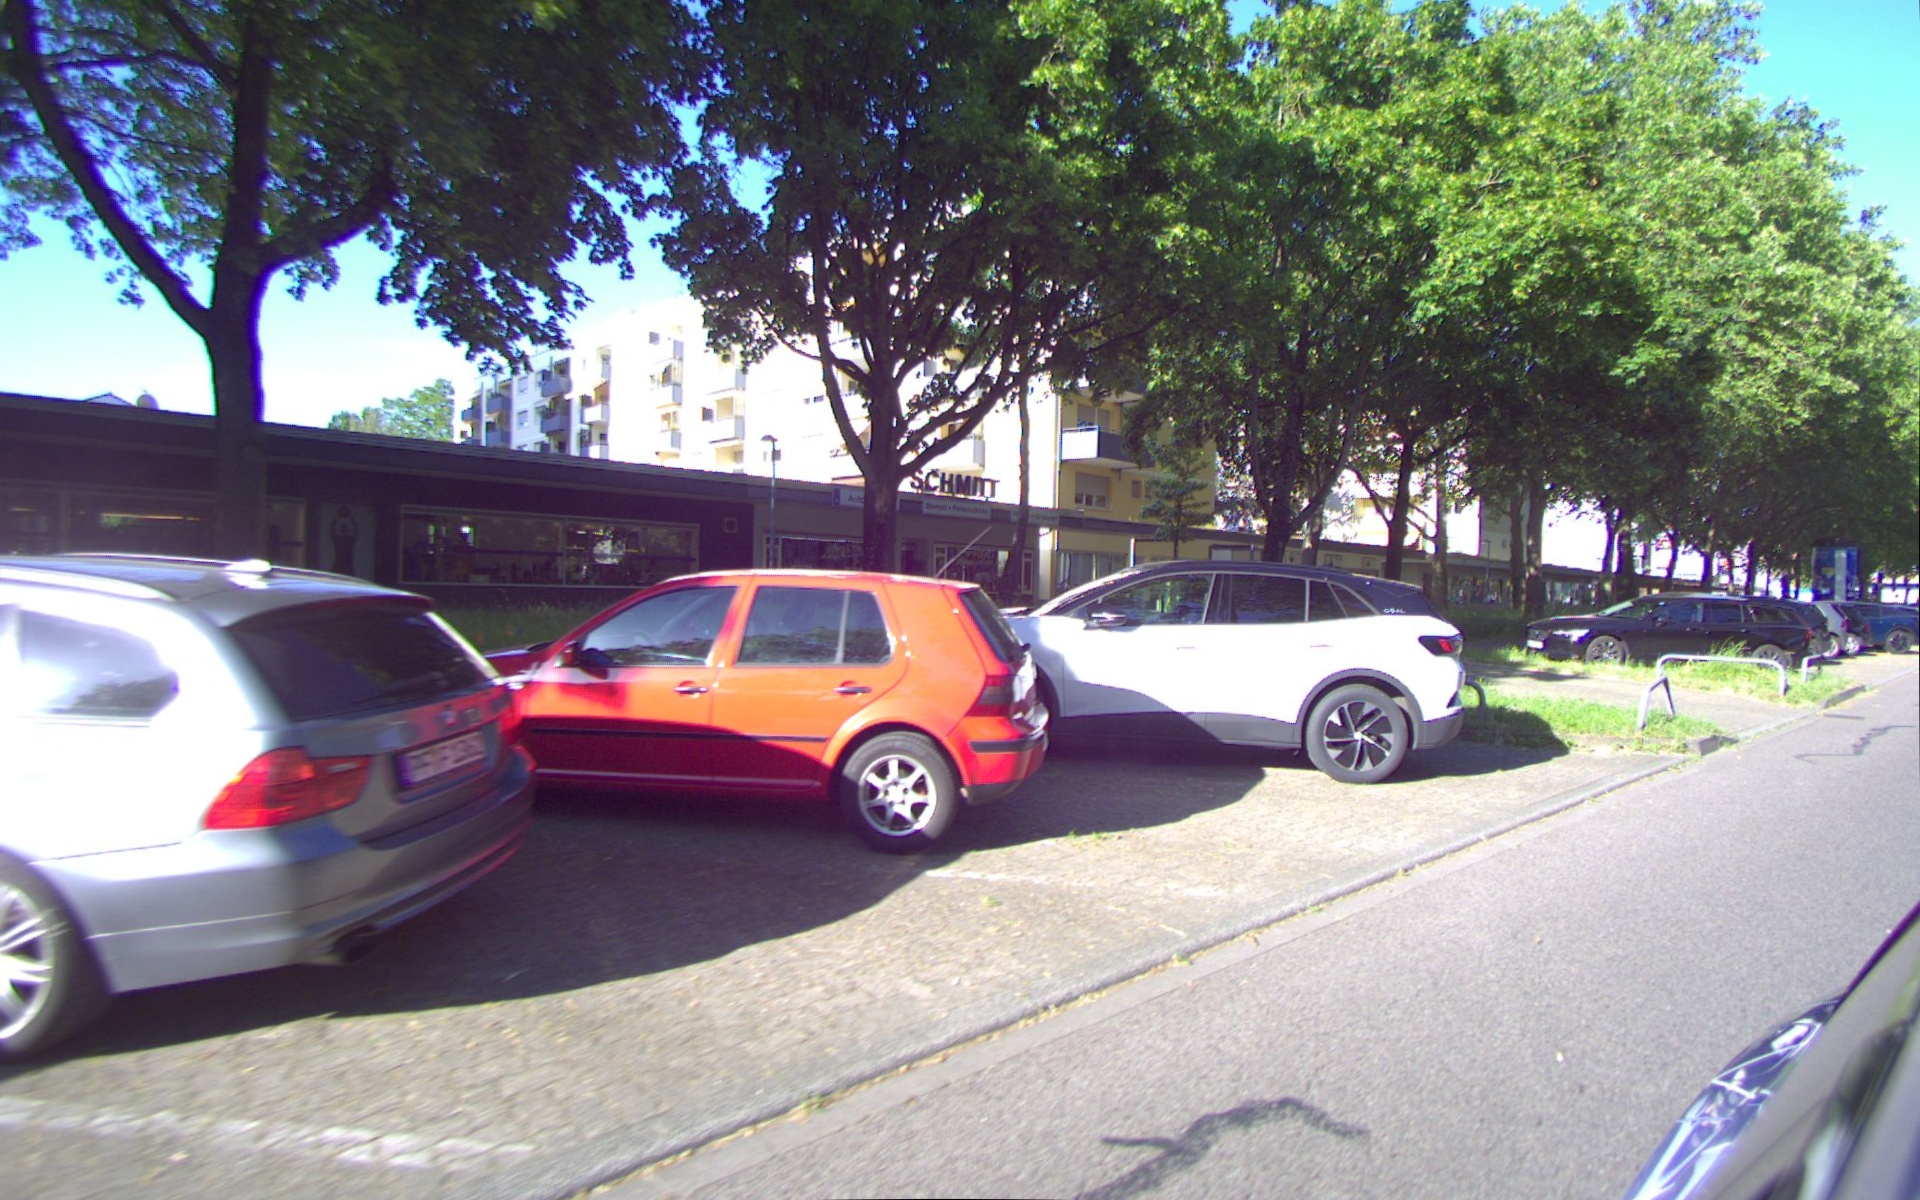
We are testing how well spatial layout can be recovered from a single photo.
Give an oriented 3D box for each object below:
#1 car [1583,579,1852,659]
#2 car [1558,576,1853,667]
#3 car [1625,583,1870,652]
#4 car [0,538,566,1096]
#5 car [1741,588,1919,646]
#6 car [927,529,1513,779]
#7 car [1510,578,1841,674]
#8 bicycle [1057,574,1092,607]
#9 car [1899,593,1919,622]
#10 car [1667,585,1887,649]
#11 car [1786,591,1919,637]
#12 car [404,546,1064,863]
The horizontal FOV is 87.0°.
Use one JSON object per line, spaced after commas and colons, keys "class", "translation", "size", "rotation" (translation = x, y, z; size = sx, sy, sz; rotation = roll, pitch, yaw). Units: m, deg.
{"class": "car", "translation": [17.585, 0.396, 23.690], "size": [4.592, 1.539, 1.999], "rotation": [3, 2, 4]}
{"class": "car", "translation": [15.699, 0.405, 21.544], "size": [4.592, 1.585, 1.999], "rotation": [3, 2, 4]}
{"class": "car", "translation": [20.304, 0.422, 26.265], "size": [4.592, 1.466, 1.999], "rotation": [3, 2, 4]}
{"class": "car", "translation": [-3.780, 0.496, 3.701], "size": [4.014, 1.420, 1.685], "rotation": [3, 2, 4]}
{"class": "car", "translation": [26.645, 0.500, 30.586], "size": [4.419, 1.466, 1.899], "rotation": [3, 2, 4]}
{"class": "car", "translation": [1.952, 0.361, 8.473], "size": [4.227, 1.696, 1.865], "rotation": [2, 1, 6]}
{"class": "car", "translation": [13.175, 0.435, 18.909], "size": [4.592, 1.442, 1.999], "rotation": [3, 2, 4]}
{"class": "bicycle", "translation": [4.632, -0.397, 40.874], "size": [1.632, 1.323, 0.505], "rotation": [0, 0, -43]}
{"class": "car", "translation": [59.212, 0.556, 60.363], "size": [4.419, 1.693, 1.899], "rotation": [3, 2, 4]}
{"class": "car", "translation": [22.805, 0.449, 28.390], "size": [4.419, 1.466, 1.899], "rotation": [3, 2, 4]}
{"class": "car", "translation": [33.920, 0.538, 37.784], "size": [4.419, 1.466, 1.899], "rotation": [3, 2, 4]}
{"class": "car", "translation": [-1.183, 0.472, 6.139], "size": [3.515, 1.437, 1.709], "rotation": [3, 3, 8]}
